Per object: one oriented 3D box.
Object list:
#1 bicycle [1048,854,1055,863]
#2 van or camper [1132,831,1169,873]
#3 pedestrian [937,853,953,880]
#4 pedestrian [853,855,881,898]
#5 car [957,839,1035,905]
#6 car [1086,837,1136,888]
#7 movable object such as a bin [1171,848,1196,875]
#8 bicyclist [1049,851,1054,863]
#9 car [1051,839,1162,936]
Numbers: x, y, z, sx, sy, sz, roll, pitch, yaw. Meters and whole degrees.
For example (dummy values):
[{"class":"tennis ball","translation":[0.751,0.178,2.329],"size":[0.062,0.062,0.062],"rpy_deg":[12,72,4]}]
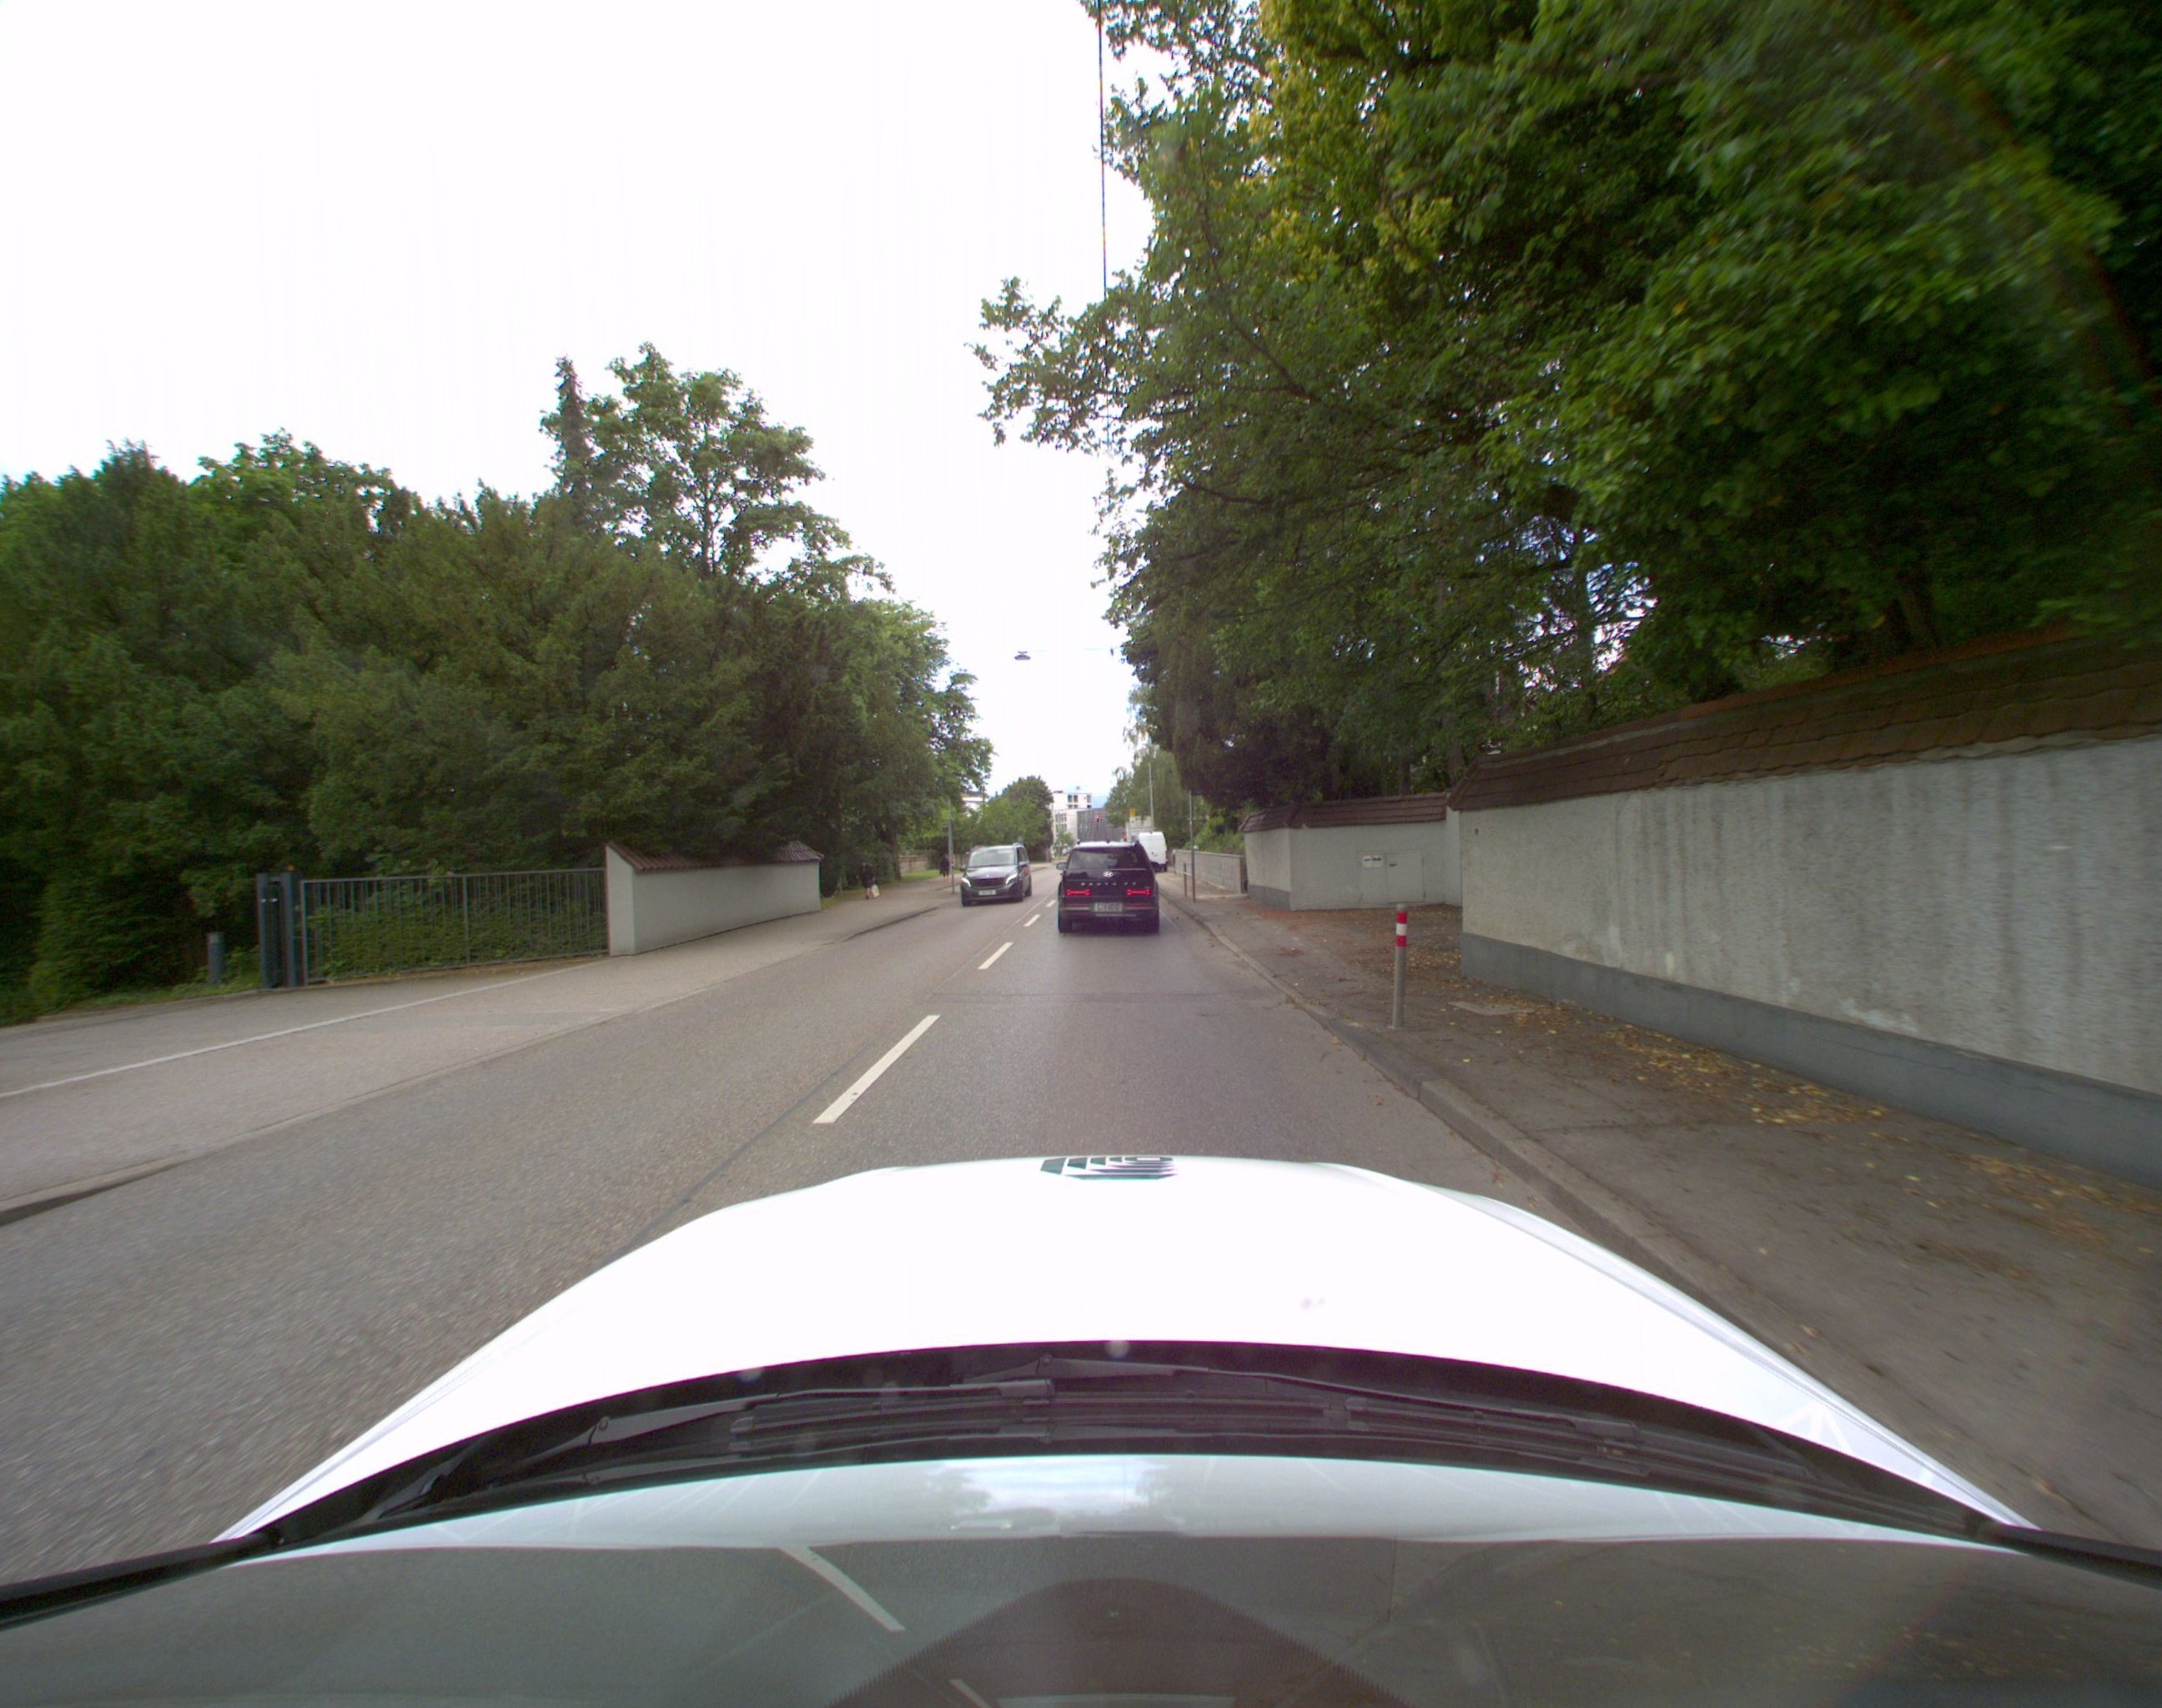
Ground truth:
[{"class":"bicycle","translation":[-4.251,0.650,117.354],"size":[0.675,1.279,2.490],"rpy_deg":[0,-2,-12]},{"class":"van or camper","translation":[4.659,-0.136,55.591],"size":[1.957,2.627,6.360],"rpy_deg":[-4,0,1]},{"class":"pedestrian","translation":[-7.933,0.723,47.539],"size":[0.746,1.578,0.967],"rpy_deg":[0,0,1]},{"class":"pedestrian","translation":[-8.048,0.837,30.631],"size":[0.926,1.560,0.899],"rpy_deg":[-1,-1,-10]},{"class":"car","translation":[-2.741,0.540,27.399],"size":[1.884,1.855,5.083],"rpy_deg":[-5,0,1]},{"class":"car","translation":[1.230,0.314,34.137],"size":[1.957,2.001,4.001],"rpy_deg":[0,0,1]},{"class":"movable object such as a bin","translation":[5.878,0.424,46.687],"size":[1.295,1.450,1.181],"rpy_deg":[-3,0,1]},{"class":"bicyclist","translation":[-4.262,0.477,117.385],"size":[0.675,1.659,0.855],"rpy_deg":[0,-2,-12]},{"class":"car","translation":[0.521,0.584,16.366],"size":[1.956,1.711,4.002],"rpy_deg":[0,0,2]}]
